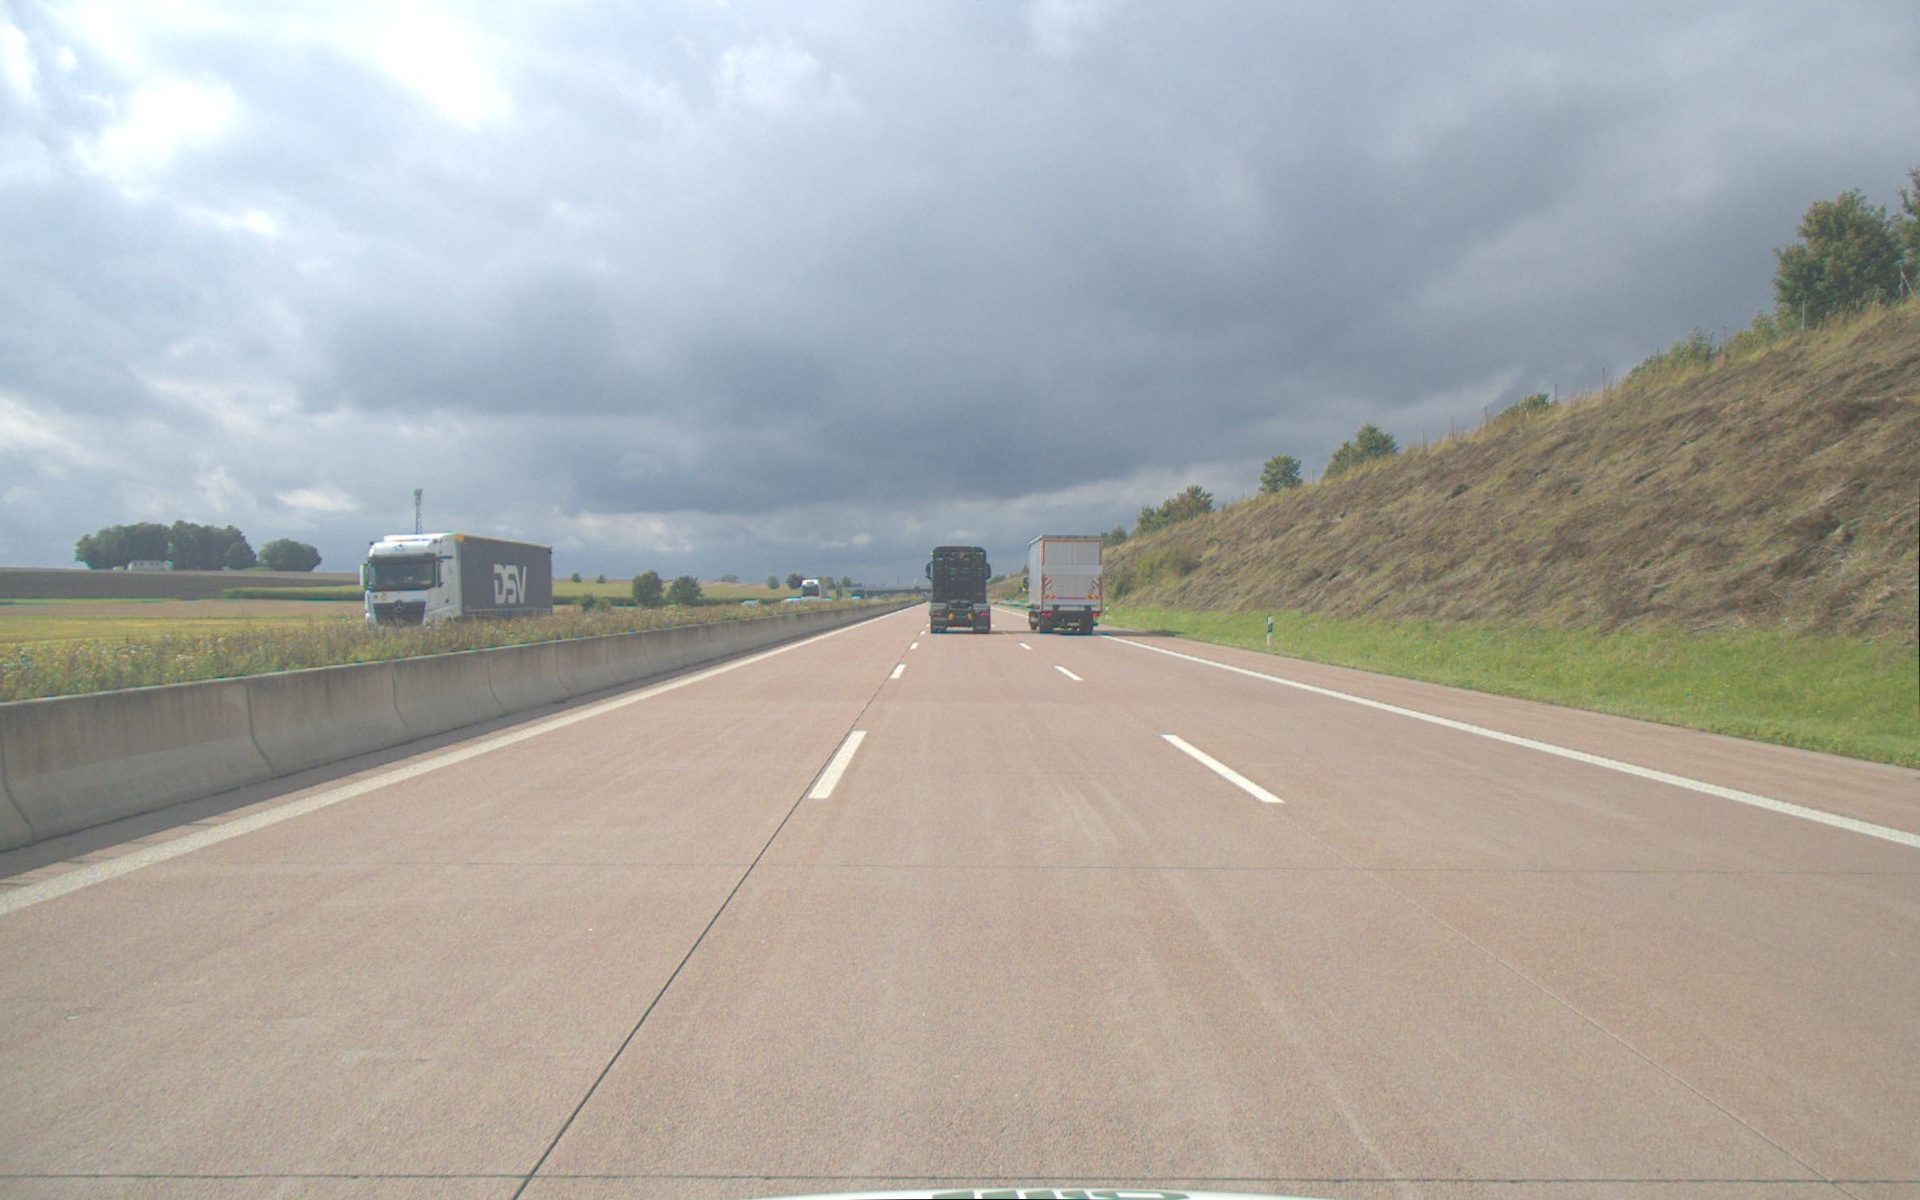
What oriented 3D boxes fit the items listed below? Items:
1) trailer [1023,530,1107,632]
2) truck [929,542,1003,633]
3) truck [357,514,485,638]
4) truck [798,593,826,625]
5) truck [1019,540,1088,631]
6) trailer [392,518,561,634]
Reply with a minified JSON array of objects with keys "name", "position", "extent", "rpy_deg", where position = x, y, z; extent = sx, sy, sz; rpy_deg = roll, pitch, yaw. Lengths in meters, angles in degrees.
[{"name":"trailer","position":[4.377,-0.761,70.777],"extent":[2.692,4.082,8.666],"rpy_deg":[0,0,-2]},{"name":"truck","position":[0.176,-0.500,70.489],"extent":[2.790,3.612,8.316],"rpy_deg":[0,0,-2]},{"name":"truck","position":[-18.487,-0.812,57.061],"extent":[2.714,4.028,5.289],"rpy_deg":[-1,0,-1]},{"name":"truck","position":[-19.874,1.160,221.990],"extent":[3.140,4.170,6.126],"rpy_deg":[1,0,0]},{"name":"truck","position":[4.201,-0.639,75.155],"extent":[2.693,3.960,4.543],"rpy_deg":[1,0,-2]},{"name":"trailer","position":[-18.669,-0.883,65.102],"extent":[2.714,4.028,14.327],"rpy_deg":[-1,0,-1]}]
